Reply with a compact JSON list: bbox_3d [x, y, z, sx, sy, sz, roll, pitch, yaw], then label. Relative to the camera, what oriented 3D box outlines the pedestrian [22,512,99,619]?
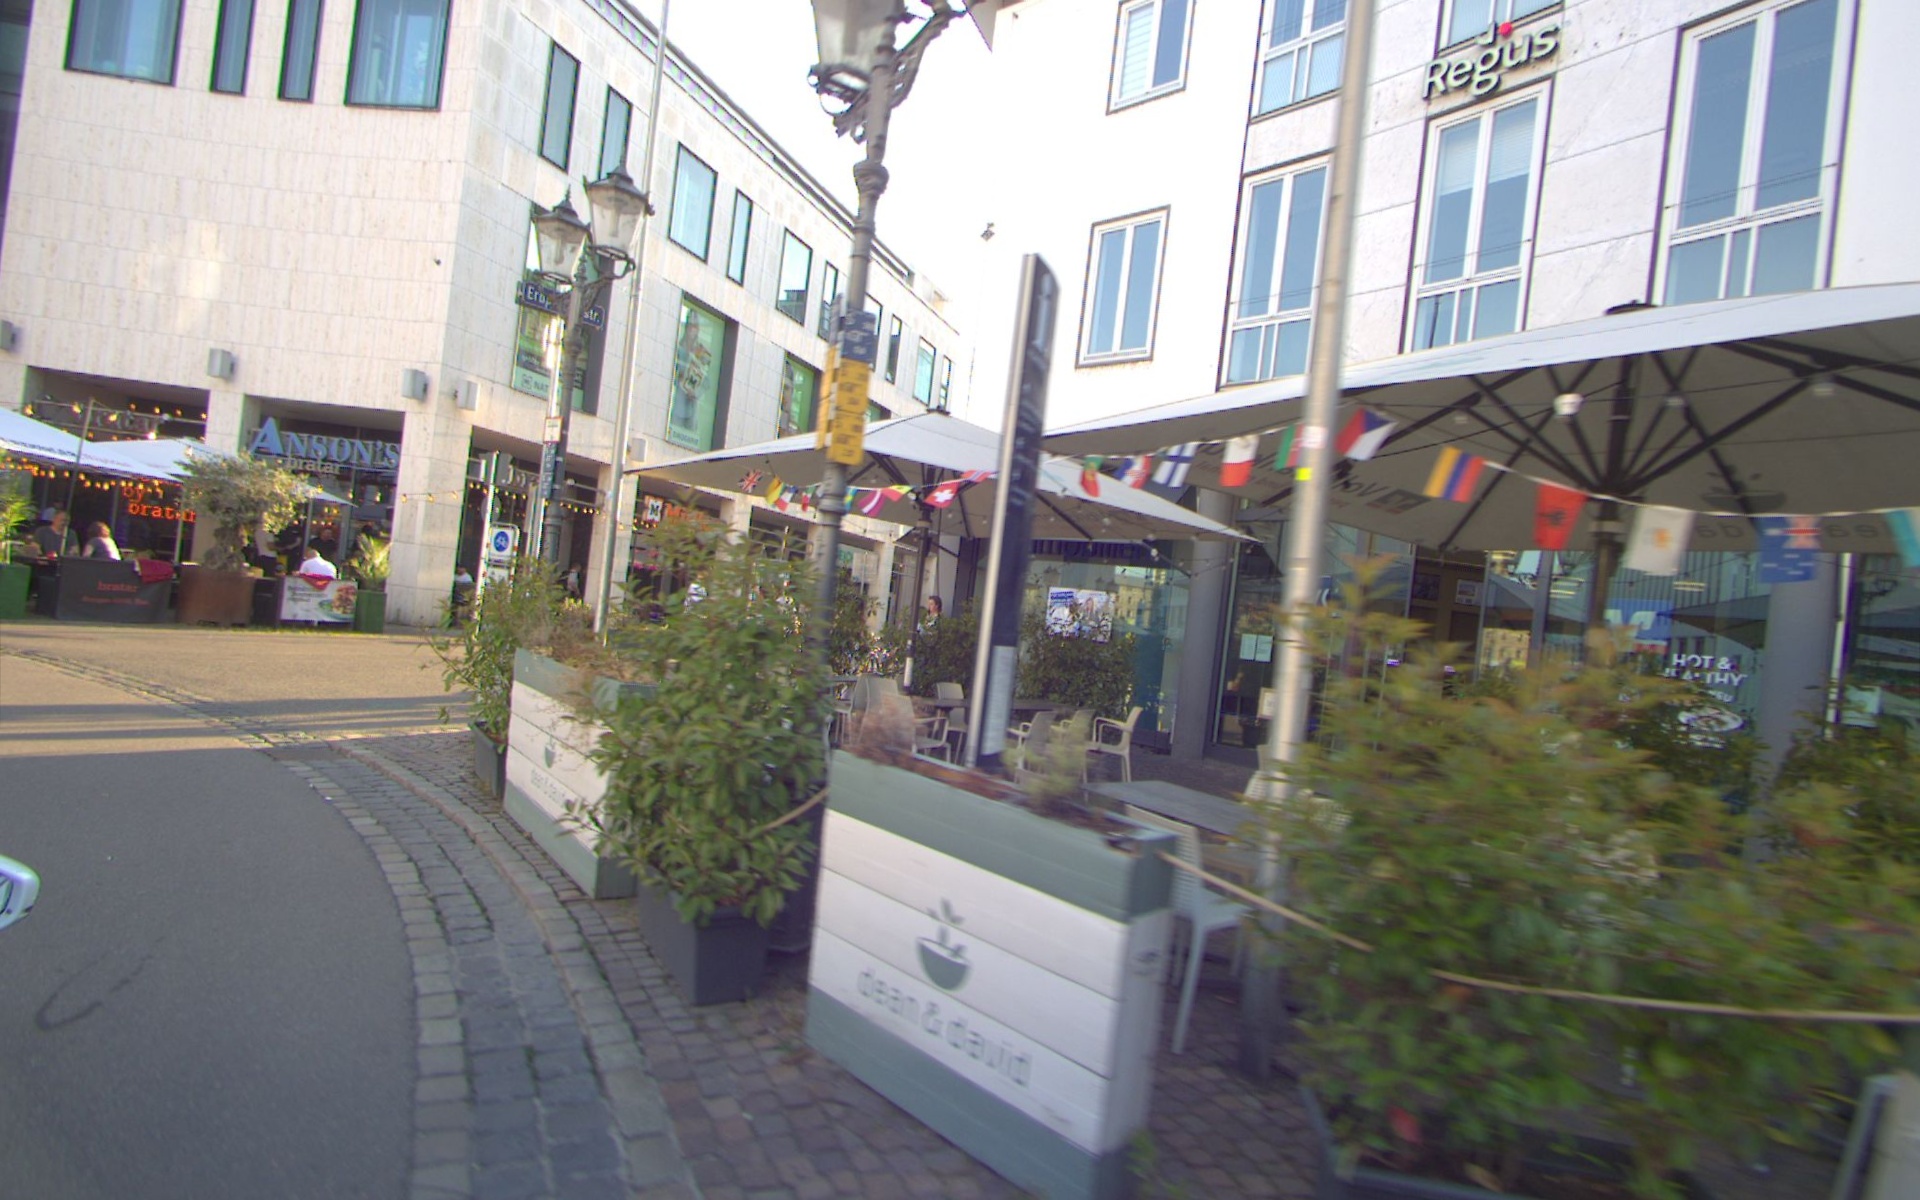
[{"bbox_3d":[-13.386,-0.504,14.974,0.552,1.496,0.530,7,0,19],"label":"pedestrian"}]

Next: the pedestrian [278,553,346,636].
[{"bbox_3d":[-11.192,-0.086,17.383,0.711,1.326,0.549,7,0,19],"label":"pedestrian"}]

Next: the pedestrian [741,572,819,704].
[{"bbox_3d":[-2.789,0.578,15.590,0.680,1.920,0.864,7,0,-35],"label":"pedestrian"}]

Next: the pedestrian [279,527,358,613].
[{"bbox_3d":[-13.581,-0.618,21.318,0.851,1.667,0.932,7,0,12],"label":"pedestrian"}]

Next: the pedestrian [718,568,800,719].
[{"bbox_3d":[-2.660,0.564,13.296,0.778,1.865,0.668,7,0,-20],"label":"pedestrian"}]

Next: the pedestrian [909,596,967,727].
[{"bbox_3d":[-0.325,0.914,15.062,0.552,1.877,0.460,7,0,15],"label":"pedestrian"}]

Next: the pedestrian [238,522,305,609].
[{"bbox_3d":[-14.119,-0.698,20.640,0.679,1.667,0.696,7,0,11],"label":"pedestrian"}]

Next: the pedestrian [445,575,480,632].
[{"bbox_3d":[-10.499,0.078,21.258,0.545,1.124,0.533,7,0,-27],"label":"pedestrian"}]

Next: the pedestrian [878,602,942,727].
[{"bbox_3d":[-0.719,0.927,14.495,0.592,1.711,0.501,7,0,18],"label":"pedestrian"}]

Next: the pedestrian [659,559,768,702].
[{"bbox_3d":[-3.676,0.453,14.989,1.021,1.955,0.997,7,0,-44],"label":"pedestrian"}]

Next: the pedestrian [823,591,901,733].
[{"bbox_3d":[-1.314,0.811,13.352,0.802,1.751,0.758,7,0,-8],"label":"pedestrian"}]

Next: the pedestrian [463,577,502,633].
[{"bbox_3d":[-10.481,0.112,22.094,0.462,1.170,0.499,7,0,9],"label":"pedestrian"}]

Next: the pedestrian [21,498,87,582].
[{"bbox_3d":[-20.268,-1.333,22.504,0.681,1.742,0.618,8,0,-4],"label":"pedestrian"}]

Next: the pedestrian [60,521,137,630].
[{"bbox_3d":[-12.616,-0.351,14.738,0.552,1.496,0.530,7,0,21],"label":"pedestrian"}]
